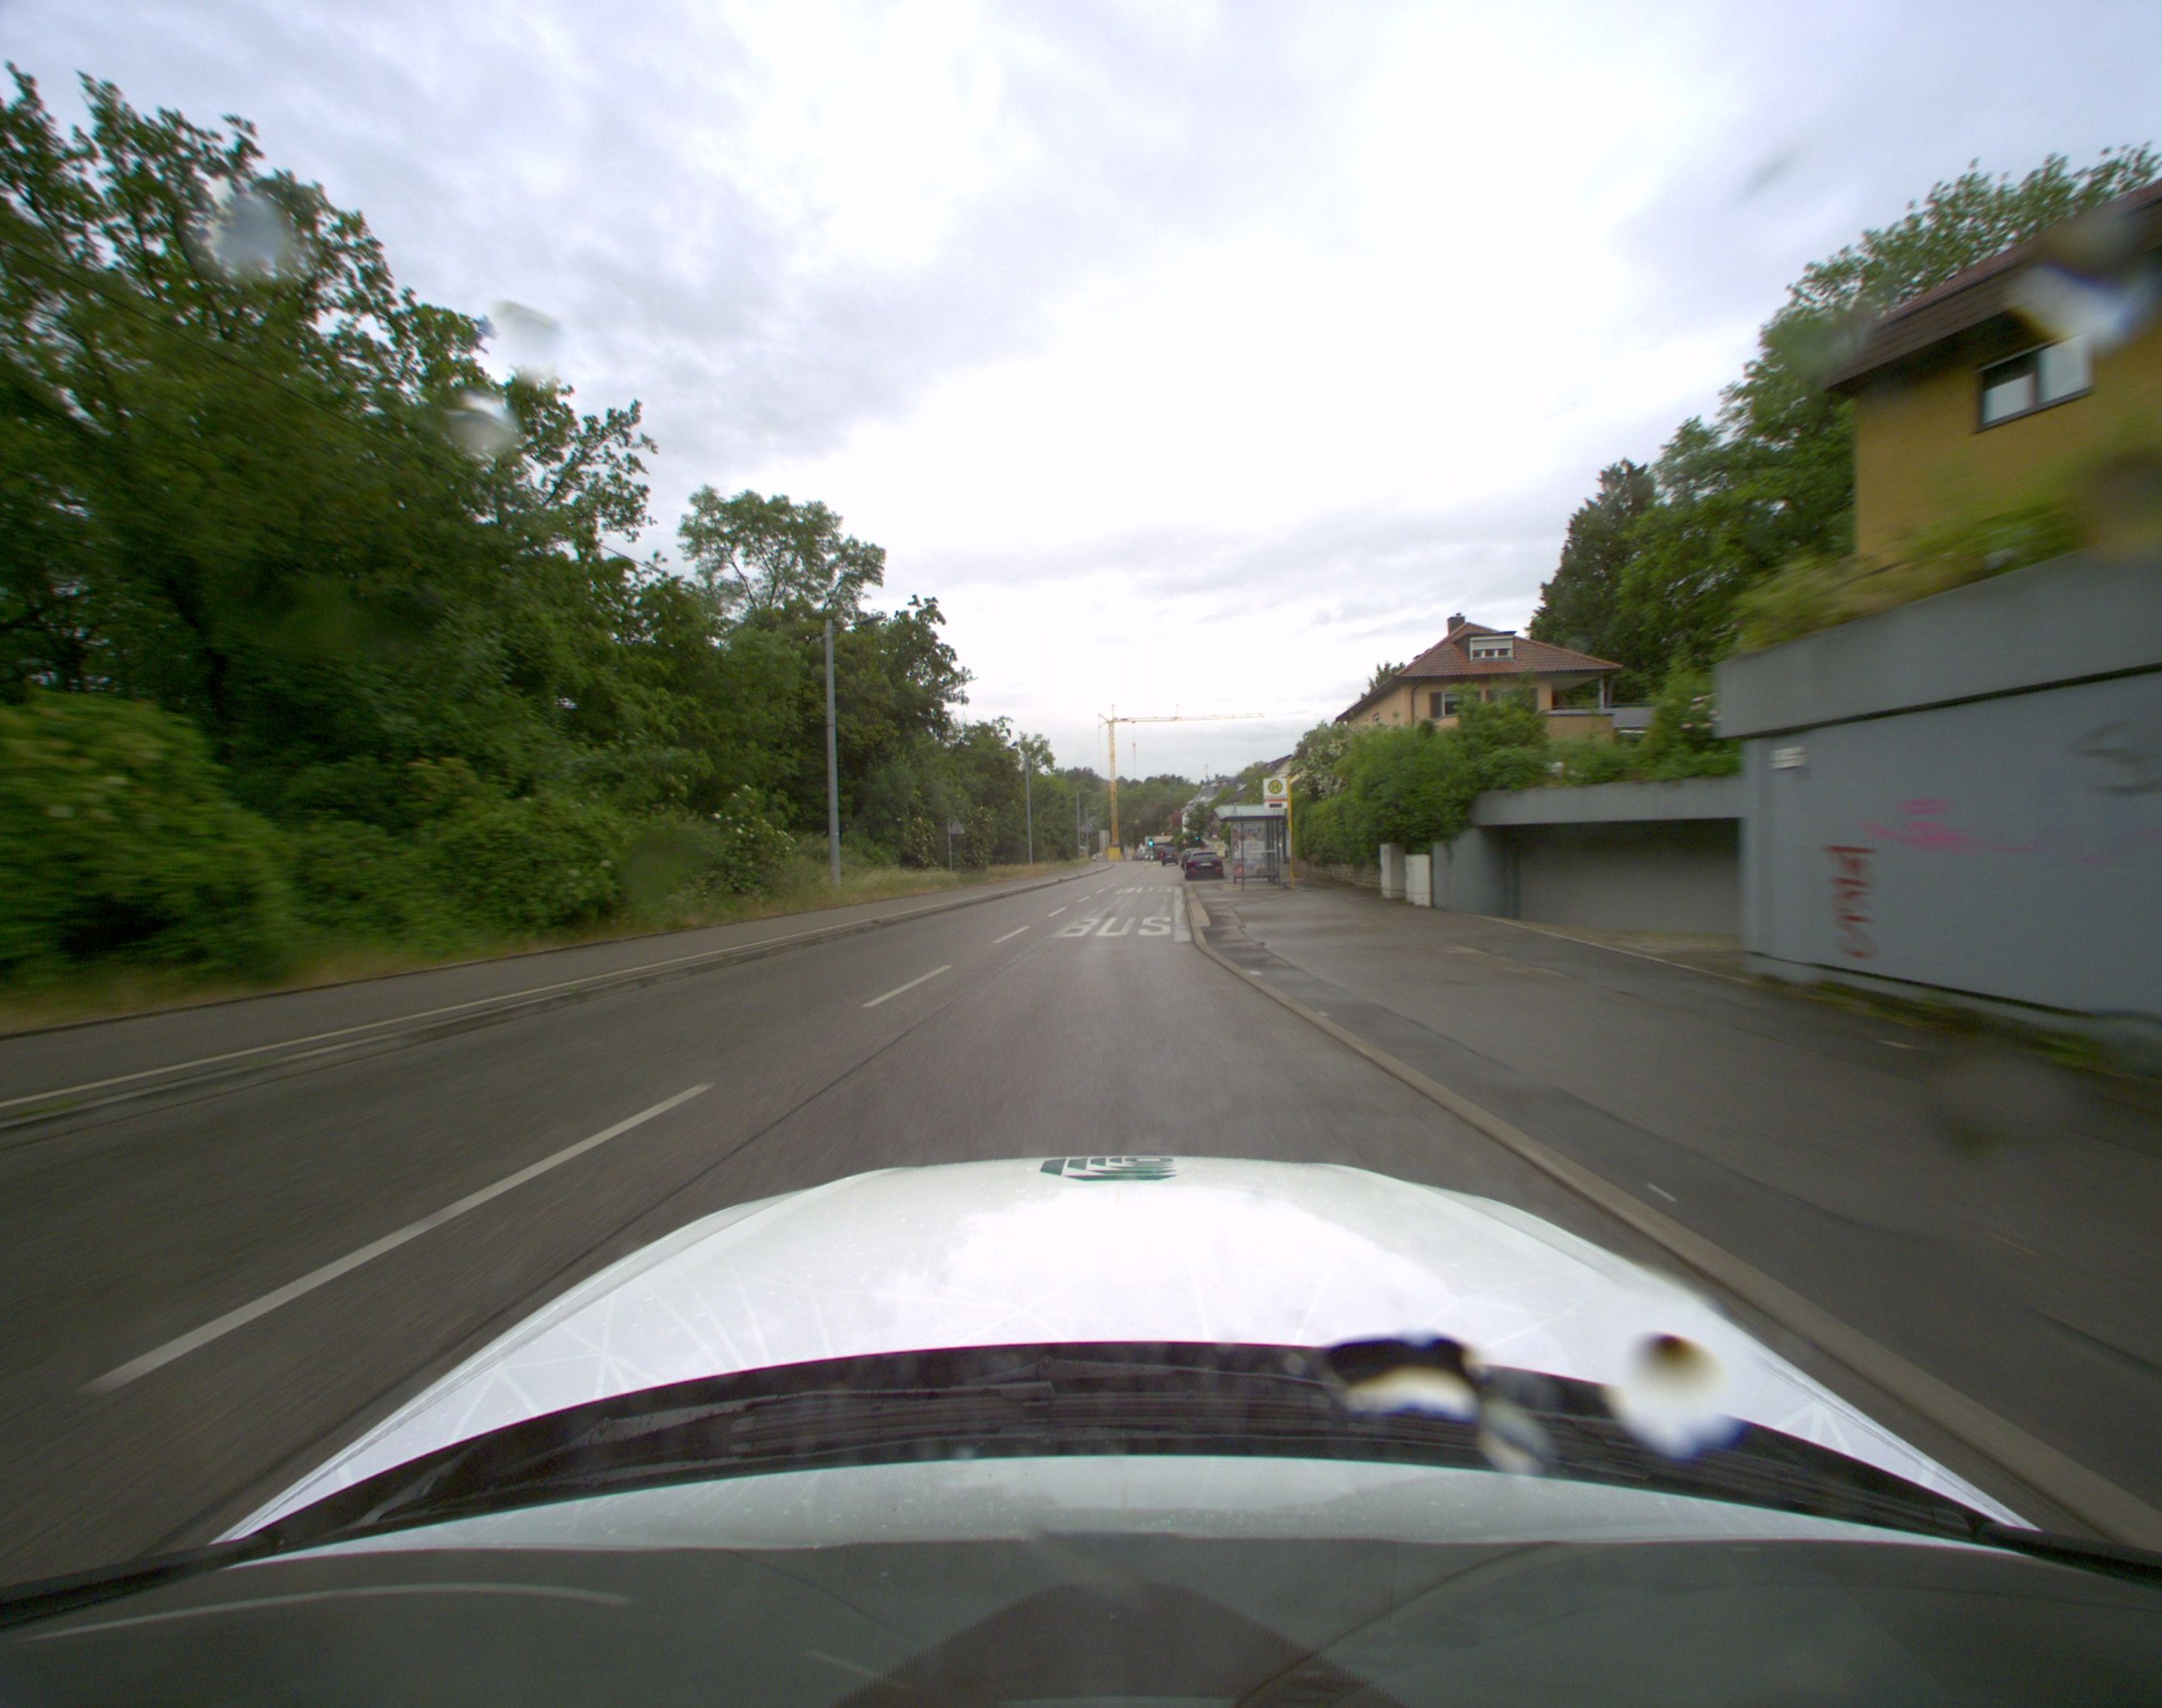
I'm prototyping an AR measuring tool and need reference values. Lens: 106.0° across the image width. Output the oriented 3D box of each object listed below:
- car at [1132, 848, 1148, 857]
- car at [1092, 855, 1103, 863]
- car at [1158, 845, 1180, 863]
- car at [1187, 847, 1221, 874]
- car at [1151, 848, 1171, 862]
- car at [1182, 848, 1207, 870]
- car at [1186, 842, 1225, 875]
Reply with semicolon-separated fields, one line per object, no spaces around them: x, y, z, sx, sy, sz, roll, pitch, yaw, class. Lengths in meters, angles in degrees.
10.722;-0.285;147.892;1.931;1.422;4.822;-1;0;-9;car
3.820;1.214;190.077;1.745;1.706;4.485;-5;0;-10;car
9.109;0.037;84.145;1.925;1.751;4.001;0;-1;1;car
7.038;0.398;46.711;1.802;1.398;4.112;-3;-1;8;car
12.226;0.168;124.305;1.991;2.013;4.947;-5;0;-5;car
8.747;0.351;62.940;1.721;1.568;4.531;-4;0;7;car
6.481;0.249;42.300;1.819;1.547;4.640;-3;-1;8;car
